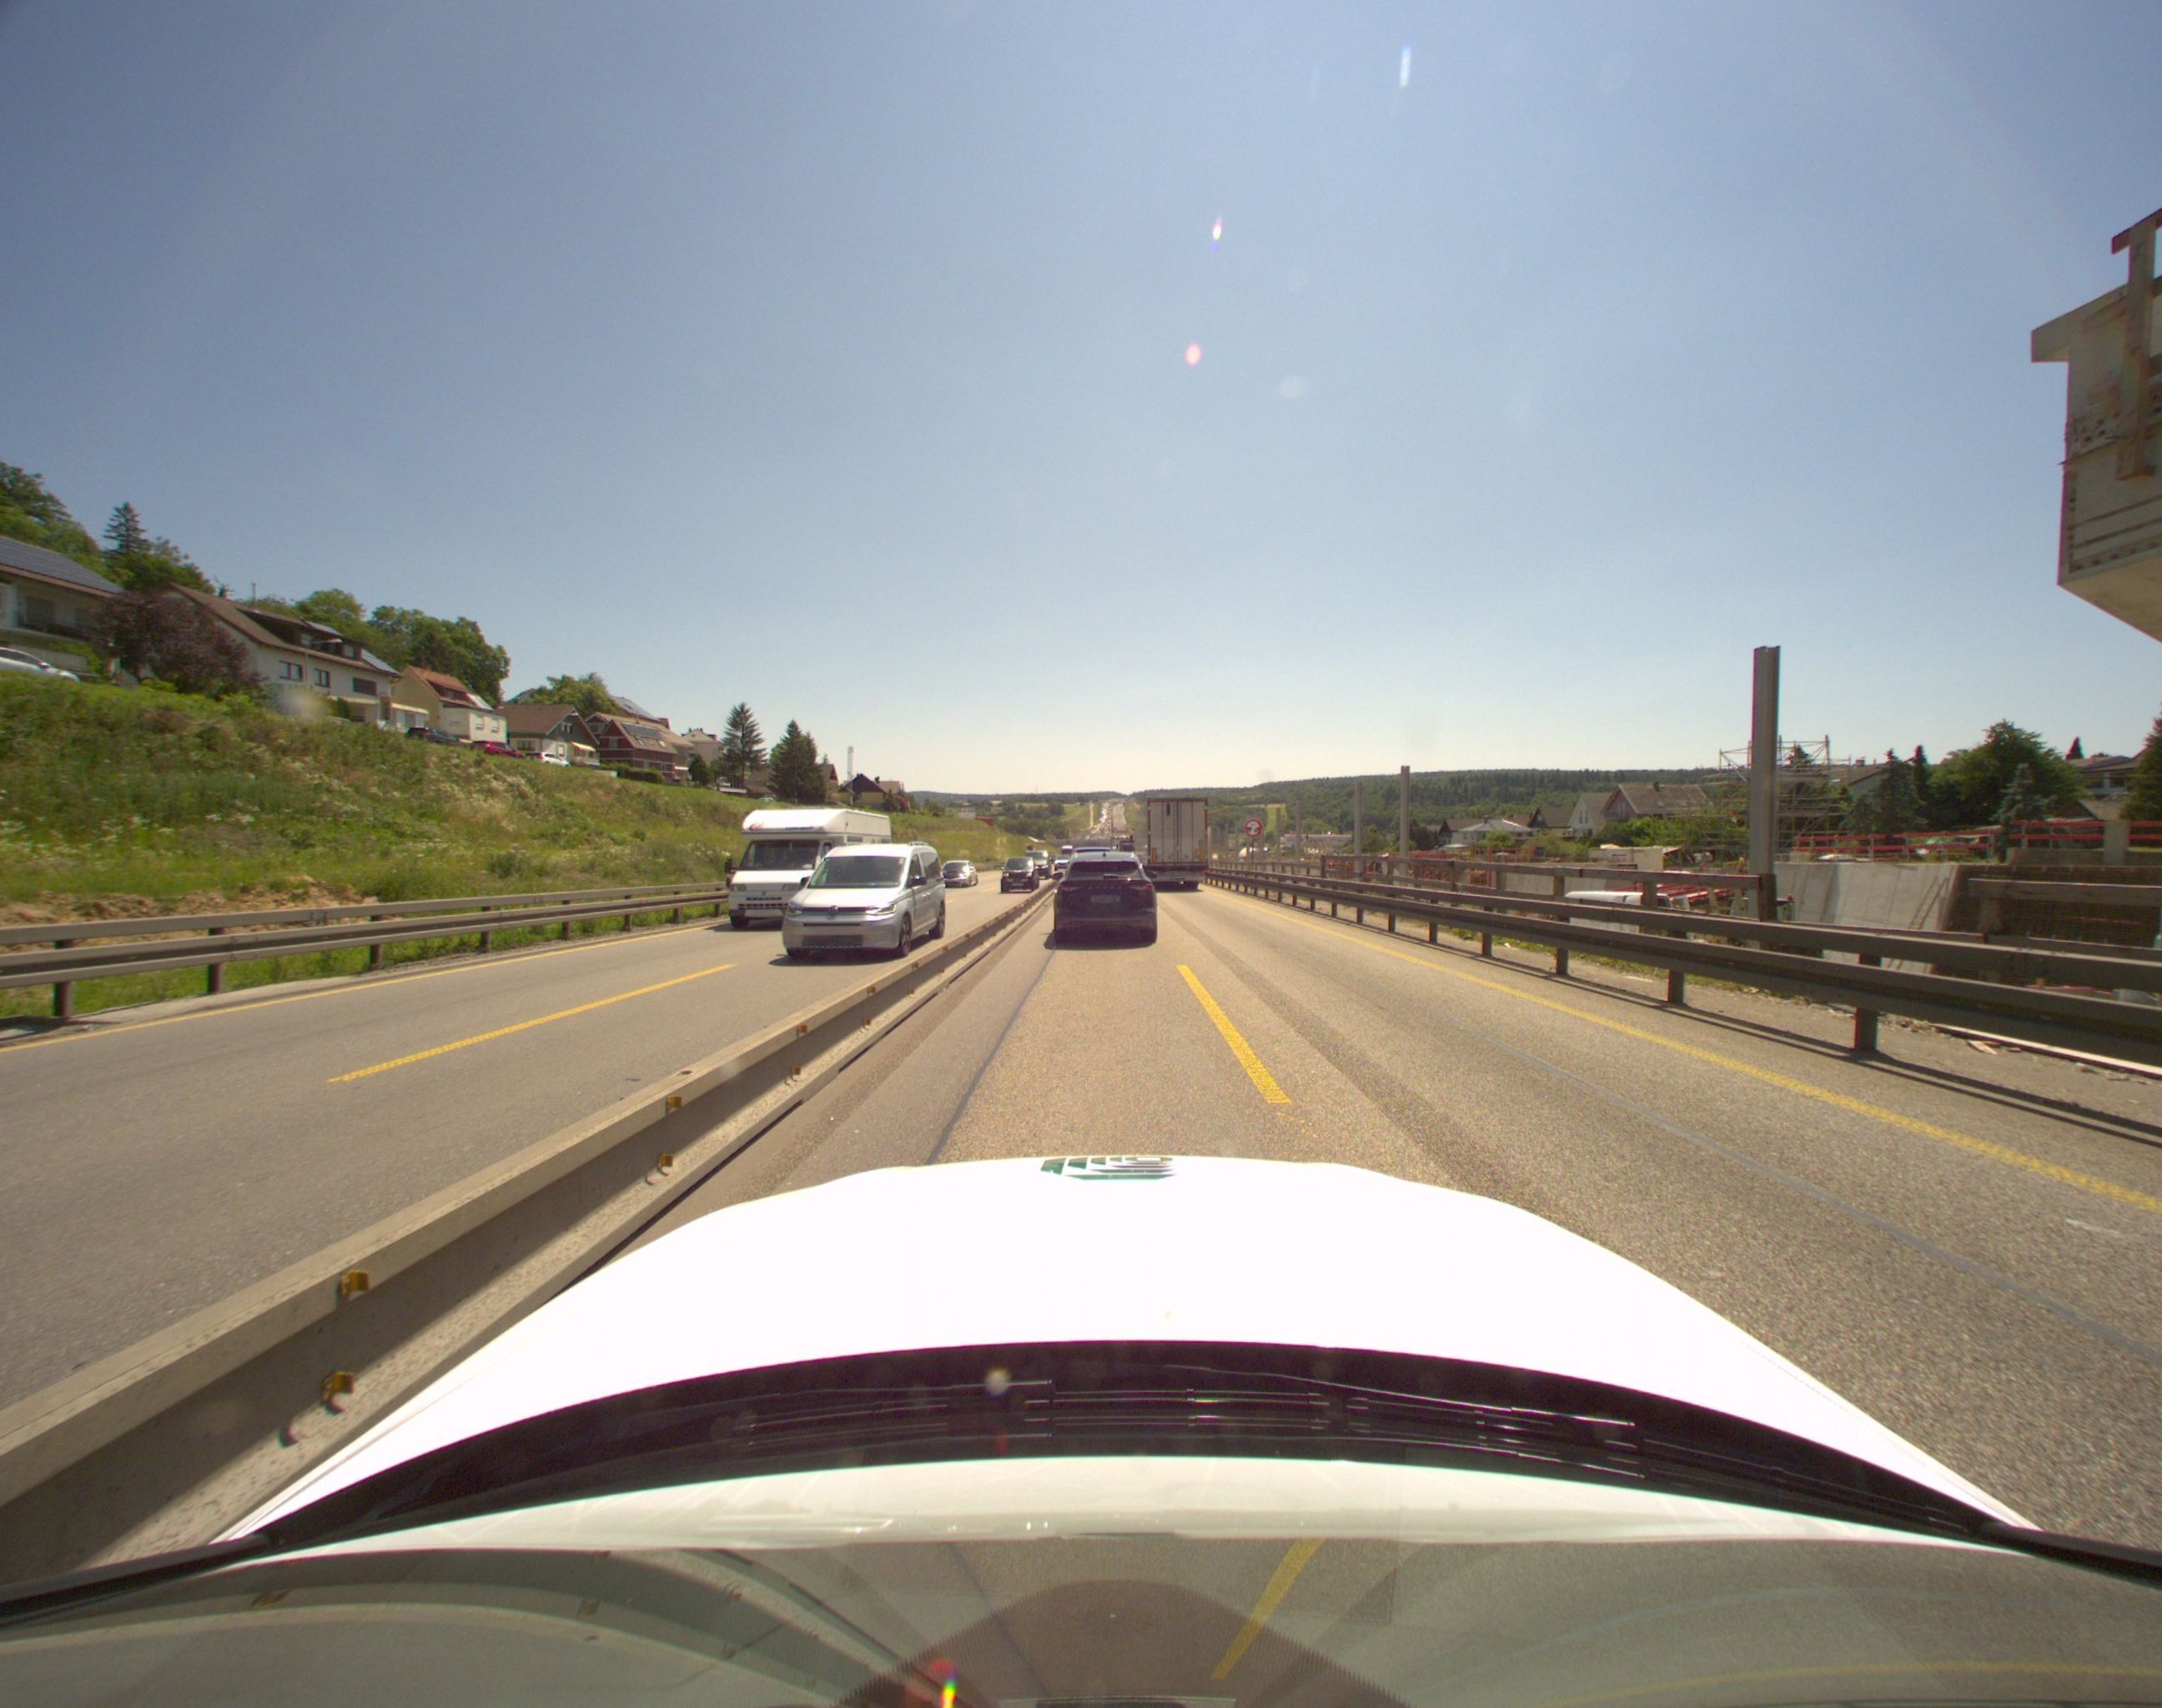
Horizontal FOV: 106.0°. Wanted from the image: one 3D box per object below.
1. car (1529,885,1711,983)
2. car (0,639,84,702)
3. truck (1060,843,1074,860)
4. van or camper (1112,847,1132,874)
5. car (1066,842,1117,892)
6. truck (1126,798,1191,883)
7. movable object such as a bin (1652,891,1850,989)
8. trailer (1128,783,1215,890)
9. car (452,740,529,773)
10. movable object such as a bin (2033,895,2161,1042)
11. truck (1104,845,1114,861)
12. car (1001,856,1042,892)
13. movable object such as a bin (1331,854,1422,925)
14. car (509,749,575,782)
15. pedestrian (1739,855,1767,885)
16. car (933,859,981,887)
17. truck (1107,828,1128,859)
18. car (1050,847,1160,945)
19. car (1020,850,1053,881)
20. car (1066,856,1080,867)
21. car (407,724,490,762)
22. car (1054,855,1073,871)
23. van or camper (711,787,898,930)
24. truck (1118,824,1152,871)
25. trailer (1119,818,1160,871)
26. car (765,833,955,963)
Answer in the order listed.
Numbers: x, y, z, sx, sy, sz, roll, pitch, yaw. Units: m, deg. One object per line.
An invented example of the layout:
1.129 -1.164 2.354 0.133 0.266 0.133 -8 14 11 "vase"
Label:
18.429 2.595 28.445 2.135 2.856 7.031 -1 -1 5 "car"
-41.429 -7.111 31.069 1.991 1.794 3.992 -1 -1 -5 "car"
-3.090 -0.576 182.771 2.769 3.672 6.278 -1 0 1 "truck"
5.203 0.859 102.346 2.378 3.281 6.474 -1 -1 3 "van or camper"
0.448 0.571 34.309 1.986 1.926 4.508 -1 -1 1 "car"
4.354 -0.743 47.638 3.169 4.513 8.168 -1 0 1 "truck"
21.136 2.594 26.109 2.134 2.677 5.508 -1 -1 6 "movable object such as a bin"
4.226 -0.755 41.161 3.169 4.513 13.112 -1 0 1 "trailer"
-44.423 -7.301 61.415 2.341 1.794 4.797 -1 -1 -2 "car"
25.934 2.877 16.826 7.071 2.900 3.518 8 2 23 "movable object such as a bin"
7.872 -0.210 228.831 2.630 4.194 9.286 -1 -1 1 "truck"
-2.553 0.834 35.327 1.478 1.505 2.806 -1 0 1 "car"
21.406 2.495 59.734 3.216 4.743 9.656 -1 -1 1 "movable object such as a bin"
-44.706 -7.315 67.706 2.341 2.041 4.814 -1 -1 -2 "car"
46.479 1.113 56.341 1.132 1.988 0.974 -1 -2 5 "pedestrian"
-6.683 0.977 44.203 1.803 1.431 4.556 0 0 1 "car"
5.691 -1.492 127.620 2.842 4.465 11.917 -1 -1 1 "truck"
0.472 0.721 15.498 1.795 1.607 4.002 -1 -1 2 "car"
-3.001 0.776 55.749 1.904 2.014 4.905 -1 0 0 "car"
-1.155 0.988 114.735 1.791 1.466 4.356 -2 0 1 "car"
-42.765 -7.468 55.241 2.175 1.794 4.754 -1 -1 -5 "car"
-1.824 0.910 86.165 1.800 1.640 4.172 -1 0 0 "car"
-6.754 0.103 21.048 2.283 3.066 6.925 -1 0 1 "van or camper"
5.542 -0.557 84.624 3.169 4.513 8.166 -1 -1 1 "truck"
5.365 -0.635 77.462 3.169 4.513 14.969 -1 -1 1 "trailer"
-3.541 0.633 14.111 1.831 1.828 5.040 -1 0 1 "car"
